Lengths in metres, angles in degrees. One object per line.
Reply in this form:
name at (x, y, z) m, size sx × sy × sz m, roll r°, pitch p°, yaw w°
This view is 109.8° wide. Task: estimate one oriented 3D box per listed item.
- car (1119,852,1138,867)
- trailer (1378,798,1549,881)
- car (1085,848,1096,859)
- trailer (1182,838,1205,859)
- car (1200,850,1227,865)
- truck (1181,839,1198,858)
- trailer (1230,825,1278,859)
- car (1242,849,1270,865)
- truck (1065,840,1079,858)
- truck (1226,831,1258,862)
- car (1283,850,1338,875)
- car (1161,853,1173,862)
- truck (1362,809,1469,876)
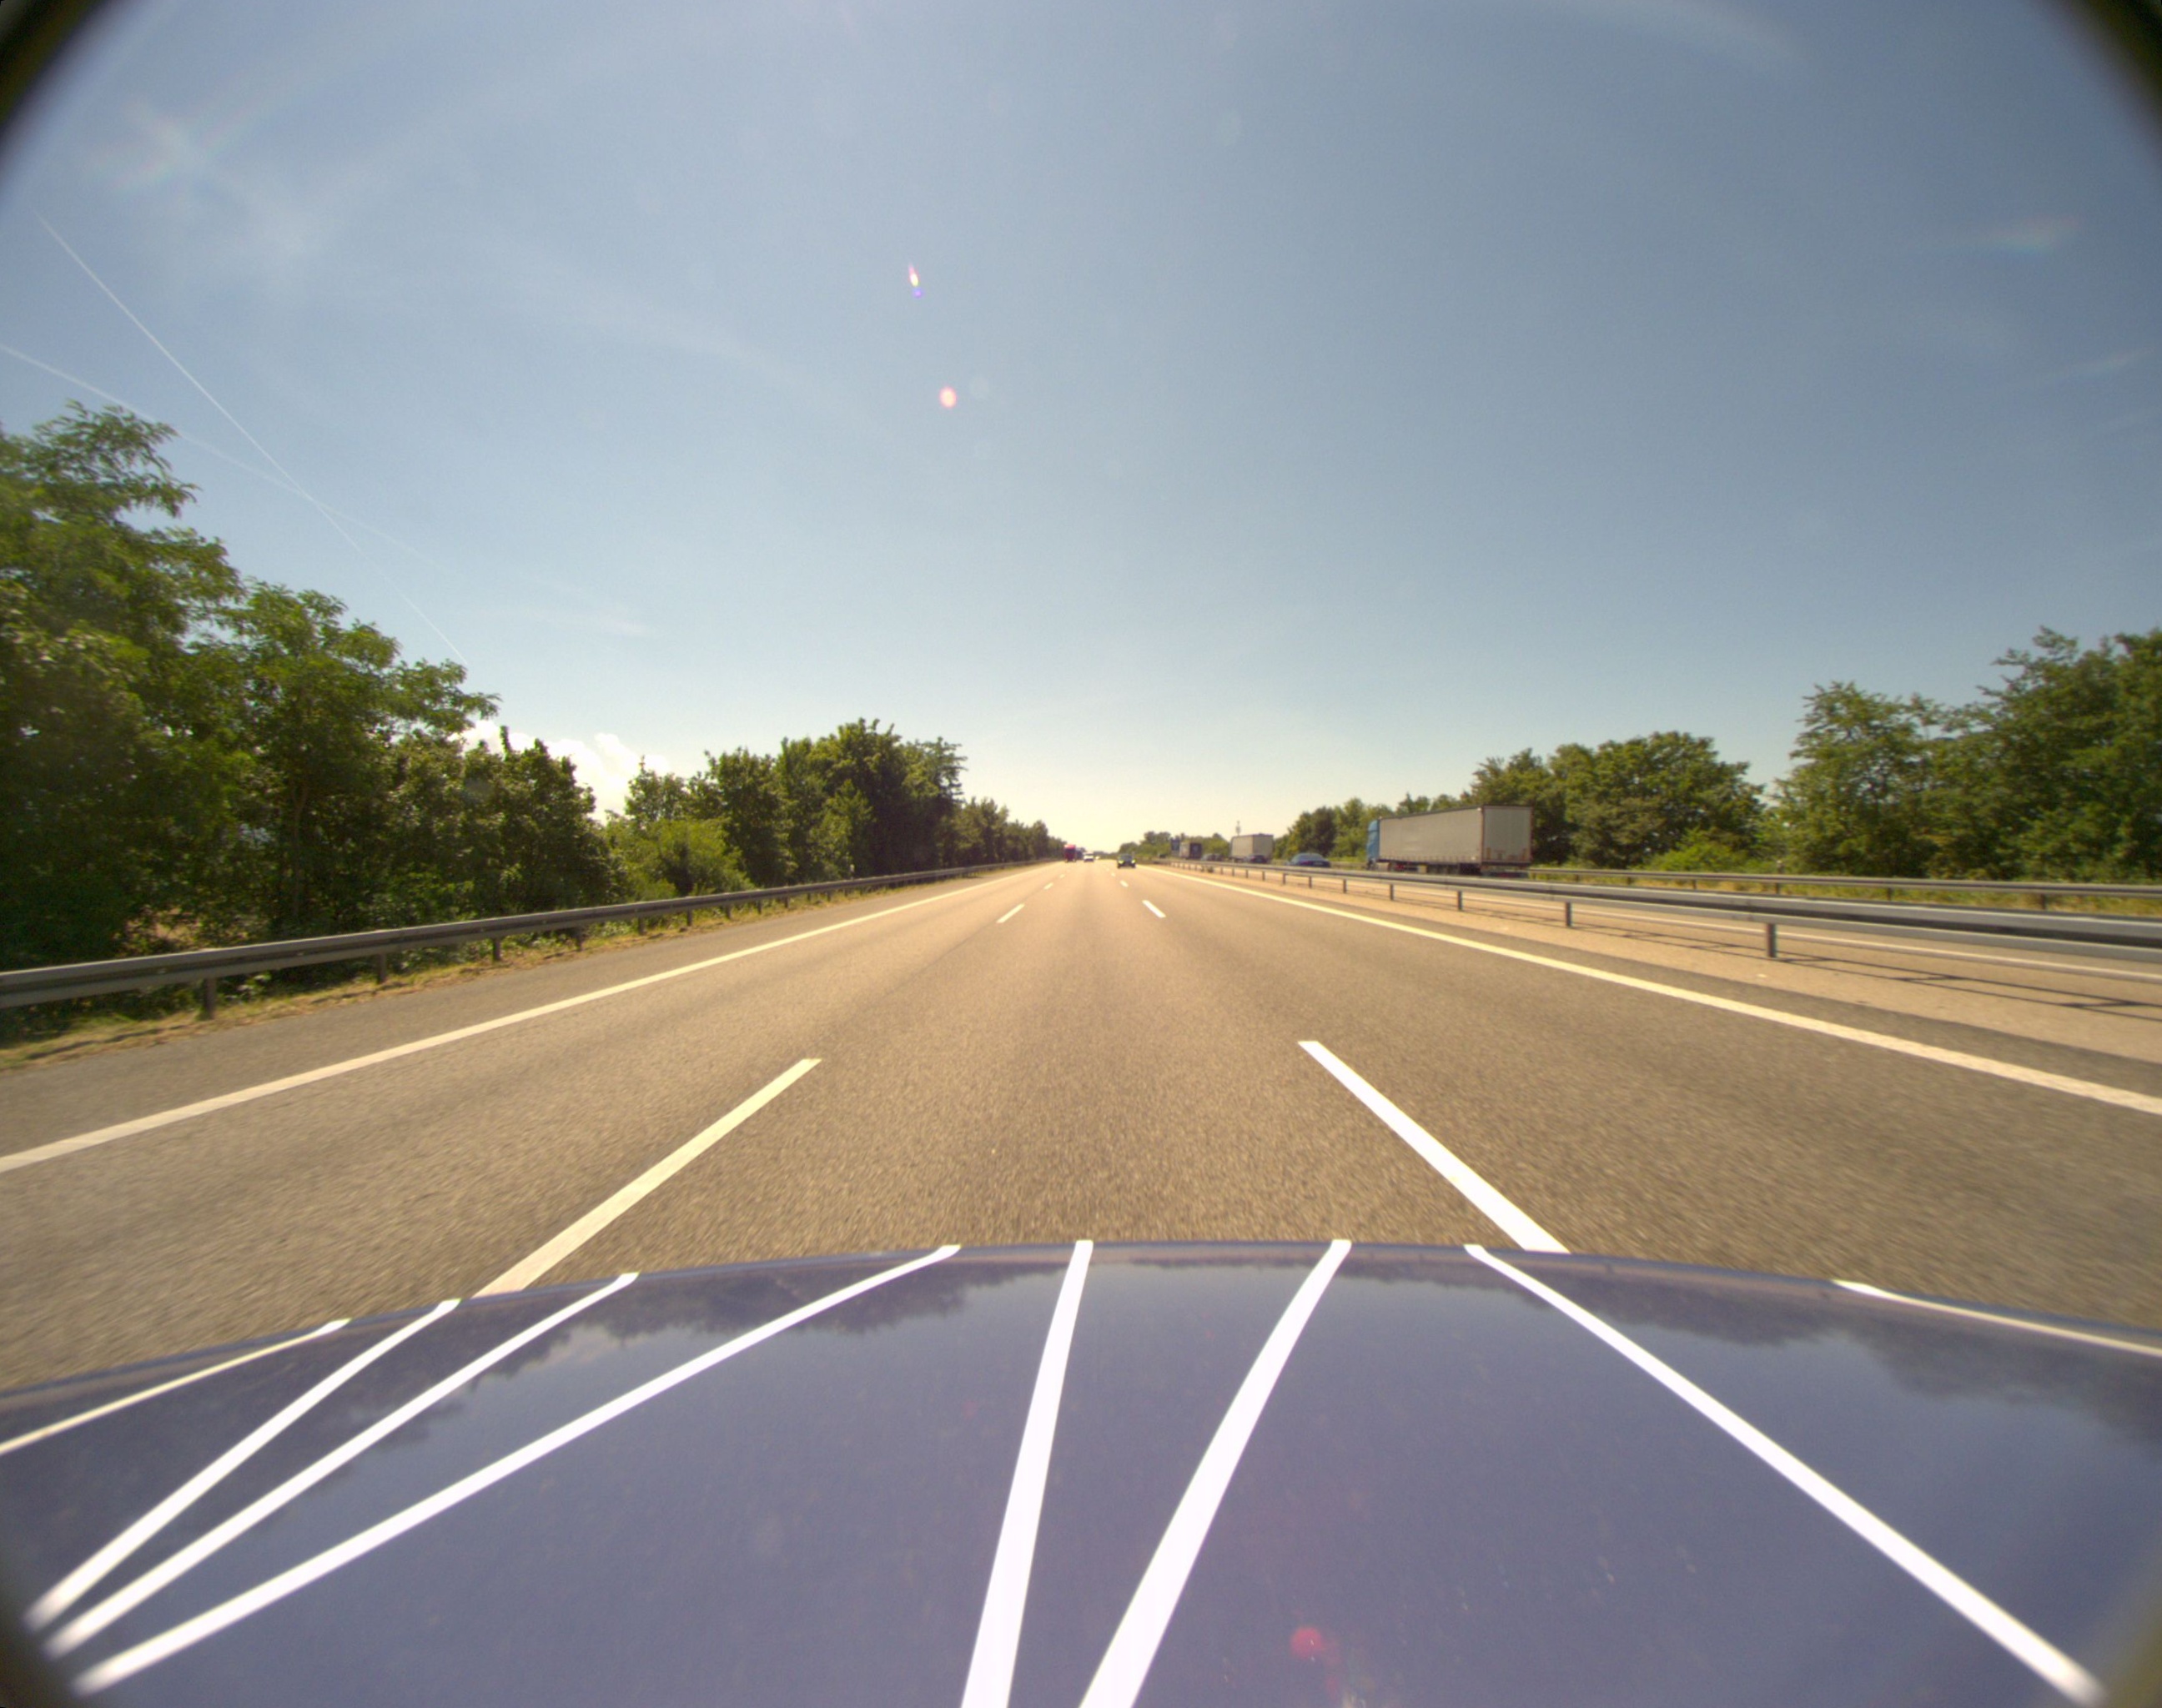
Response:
car at (4.873, 0.595, 77.970) m, size 1.736 × 1.433 × 4.000 m, roll -2°, pitch 0°, yaw 1°
trailer at (21.813, -0.707, 44.836) m, size 3.305 × 4.162 × 13.541 m, roll 0°, pitch 0°, yaw 0°
car at (1.873, -0.095, 151.424) m, size 1.998 × 2.002 × 4.756 m, roll -2°, pitch 0°, yaw 1°
trailer at (23.767, -1.188, 161.391) m, size 2.927 × 4.162 × 13.540 m, roll 1°, pitch 1°, yaw 1°
car at (13.736, 0.292, 78.920) m, size 1.854 × 1.455 × 5.169 m, roll 2°, pitch 1°, yaw 1°
truck at (23.878, -1.227, 167.949) m, size 2.923 × 4.106 × 6.193 m, roll 1°, pitch 1°, yaw 1°
trailer at (22.639, -1.415, 100.374) m, size 3.357 × 4.162 × 13.541 m, roll 0°, pitch 0°, yaw 0°
car at (18.100, 0.284, 78.665) m, size 1.854 × 1.455 × 4.313 m, roll -4°, pitch 0°, yaw 1°
truck at (-2.031, -1.119, 174.730) m, size 2.938 × 3.933 × 10.261 m, roll -2°, pitch 0°, yaw 1°
truck at (22.699, -1.037, 107.153) m, size 3.205 × 4.105 × 6.194 m, roll -1°, pitch 0°, yaw 1°
car at (13.741, 0.488, 45.765) m, size 1.854 × 1.387 × 4.742 m, roll 1°, pitch 1°, yaw 1°
car at (20.475, 0.848, 181.172) m, size 2.234 × 1.977 × 5.356 m, roll -4°, pitch 1°, yaw 1°
truck at (21.845, -0.659, 50.294) m, size 3.260 × 3.963 × 8.727 m, roll -1°, pitch 0°, yaw 1°
